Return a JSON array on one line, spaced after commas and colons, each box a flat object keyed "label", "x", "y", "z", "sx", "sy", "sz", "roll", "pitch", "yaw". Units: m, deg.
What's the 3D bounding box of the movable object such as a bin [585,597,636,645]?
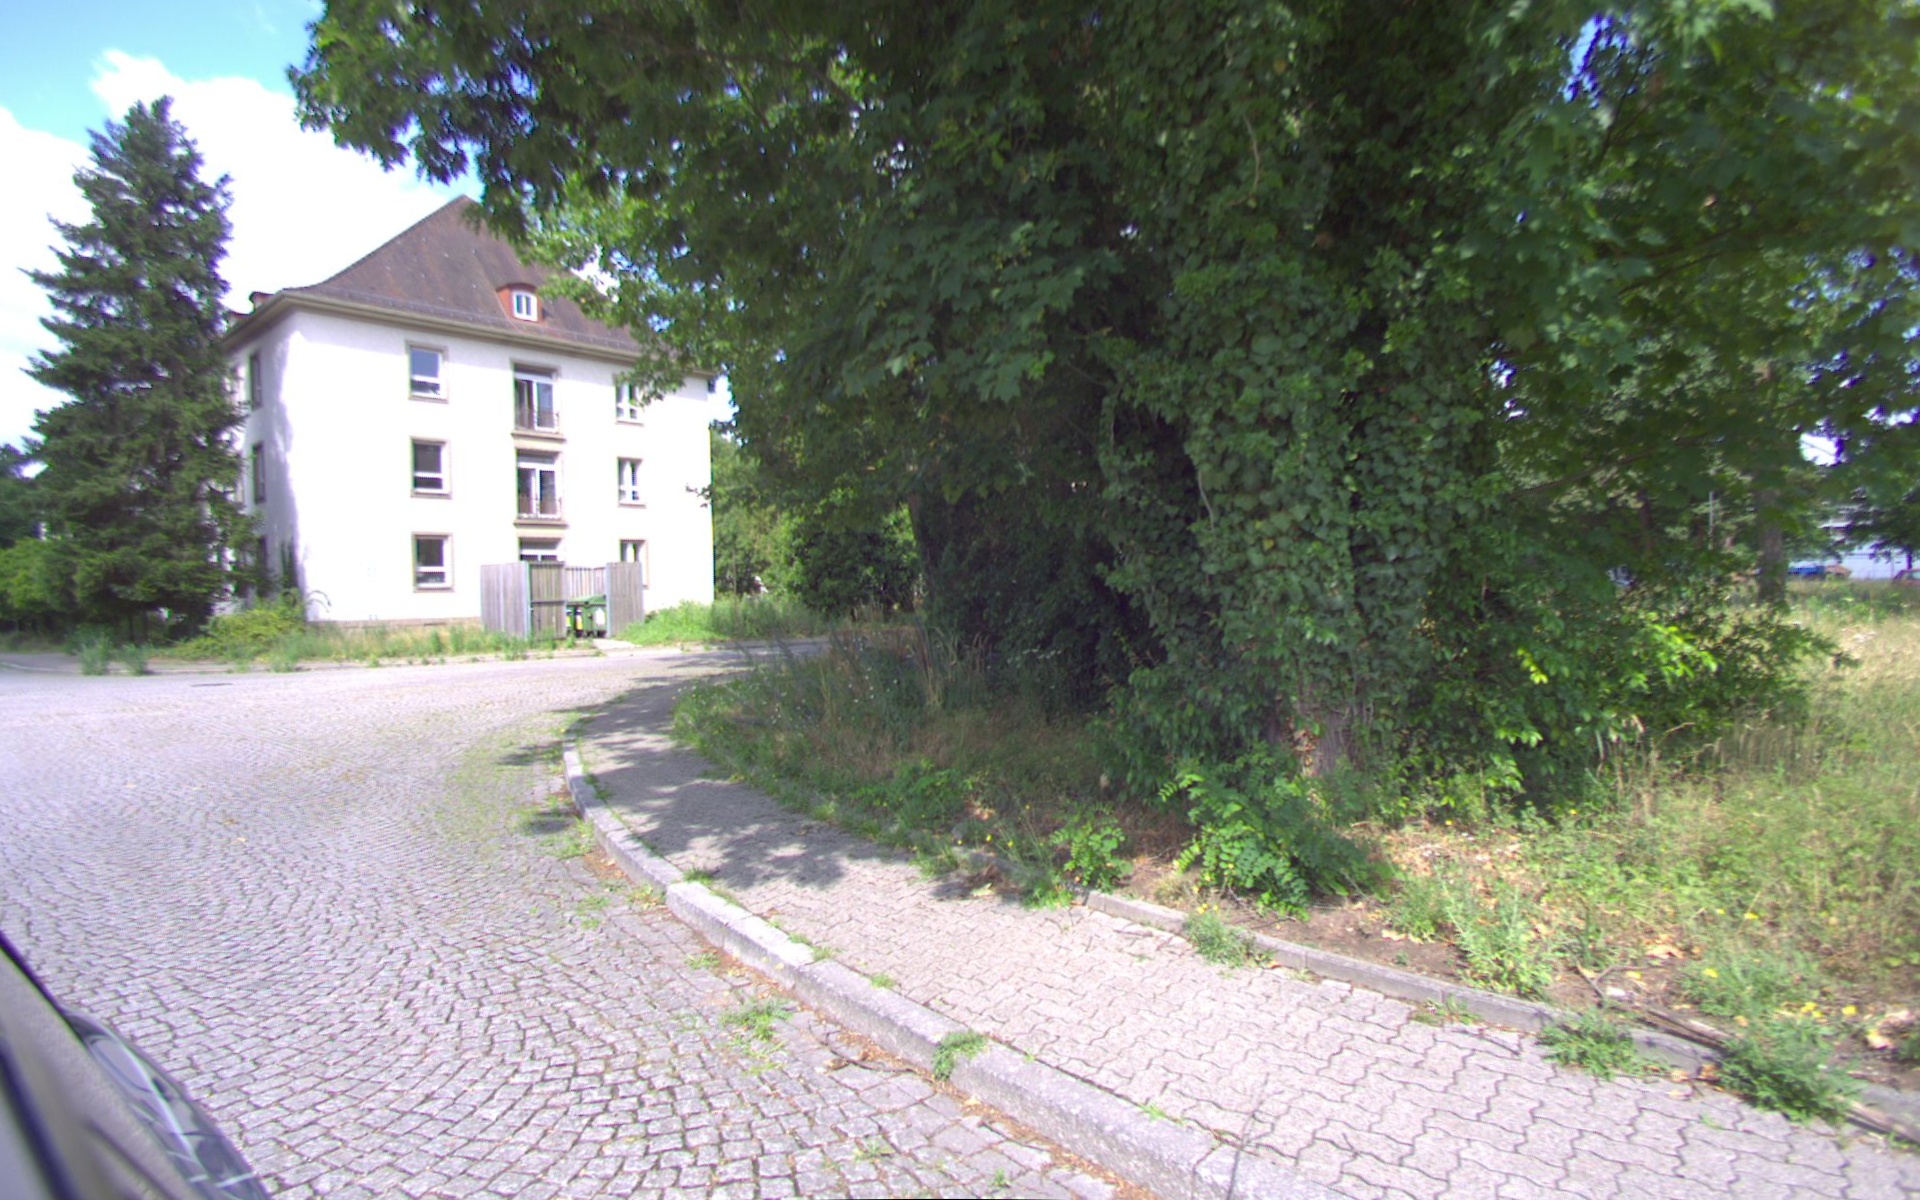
[{"label": "movable object such as a bin", "x": -11.638, "y": 0.686, "z": 33.737, "sx": 1.151, "sy": 1.542, "sz": 1.158, "roll": -1, "pitch": 0, "yaw": 39}]

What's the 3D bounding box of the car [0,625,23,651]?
[{"label": "car", "x": -64.066, "y": 2.523, "z": 66.095, "sx": 1.766, "sy": 1.656, "sz": 4.031, "roll": -1, "pitch": 0, "yaw": 41}]

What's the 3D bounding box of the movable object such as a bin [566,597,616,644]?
[{"label": "movable object such as a bin", "x": -12.574, "y": 0.689, "z": 34.493, "sx": 1.151, "sy": 1.542, "sz": 1.158, "roll": -1, "pitch": 0, "yaw": 39}]
